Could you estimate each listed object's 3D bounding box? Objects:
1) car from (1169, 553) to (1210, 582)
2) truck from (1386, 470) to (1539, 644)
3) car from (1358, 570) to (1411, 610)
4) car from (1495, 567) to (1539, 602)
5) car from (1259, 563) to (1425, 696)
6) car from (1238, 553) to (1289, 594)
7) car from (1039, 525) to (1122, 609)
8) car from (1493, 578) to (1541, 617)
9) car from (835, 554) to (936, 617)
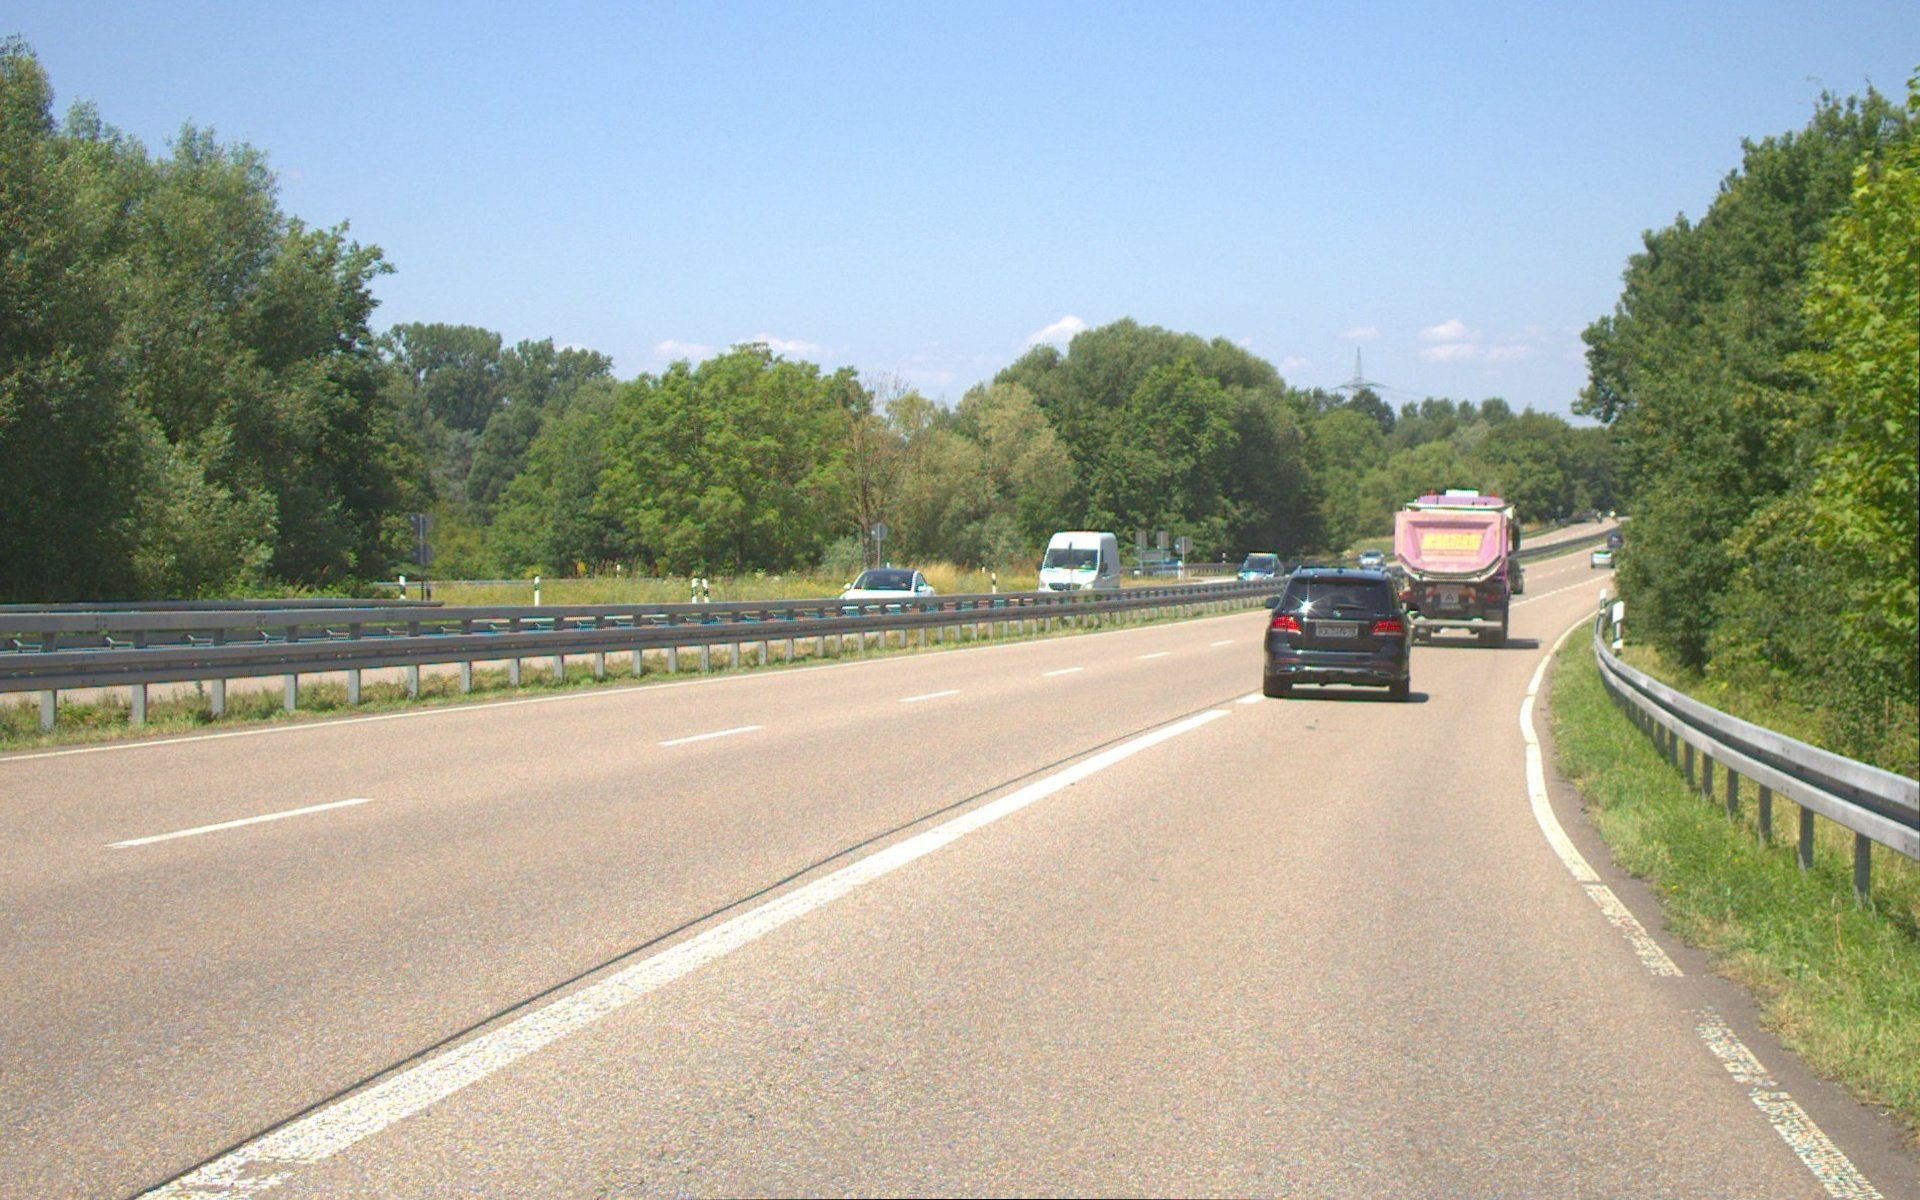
[{"bbox_3d":[12.156,-1.720,182.085,1.918,1.484,3.999,1,1,7],"label":"car"},{"bbox_3d":[12.423,-1.205,84.103,2.722,3.916,12.364,1,2,13],"label":"truck"},{"bbox_3d":[18.150,-0.449,146.963,1.858,1.665,3.998,1,1,13],"label":"car"},{"bbox_3d":[27.200,-0.775,167.866,1.858,1.665,3.998,1,1,13],"label":"car"},{"bbox_3d":[5.184,0.357,46.310,1.858,1.665,3.998,1,1,11],"label":"car"},{"bbox_3d":[14.044,-1.209,158.861,1.864,1.824,4.658,1,1,10],"label":"car"},{"bbox_3d":[4.046,-1.108,114.545,2.103,2.673,6.626,1,1,7],"label":"car"},{"bbox_3d":[25.066,-0.136,154.542,1.858,1.665,3.998,1,1,13],"label":"car"},{"bbox_3d":[-1.823,-0.375,85.342,1.918,1.484,3.999,1,1,7],"label":"car"}]
